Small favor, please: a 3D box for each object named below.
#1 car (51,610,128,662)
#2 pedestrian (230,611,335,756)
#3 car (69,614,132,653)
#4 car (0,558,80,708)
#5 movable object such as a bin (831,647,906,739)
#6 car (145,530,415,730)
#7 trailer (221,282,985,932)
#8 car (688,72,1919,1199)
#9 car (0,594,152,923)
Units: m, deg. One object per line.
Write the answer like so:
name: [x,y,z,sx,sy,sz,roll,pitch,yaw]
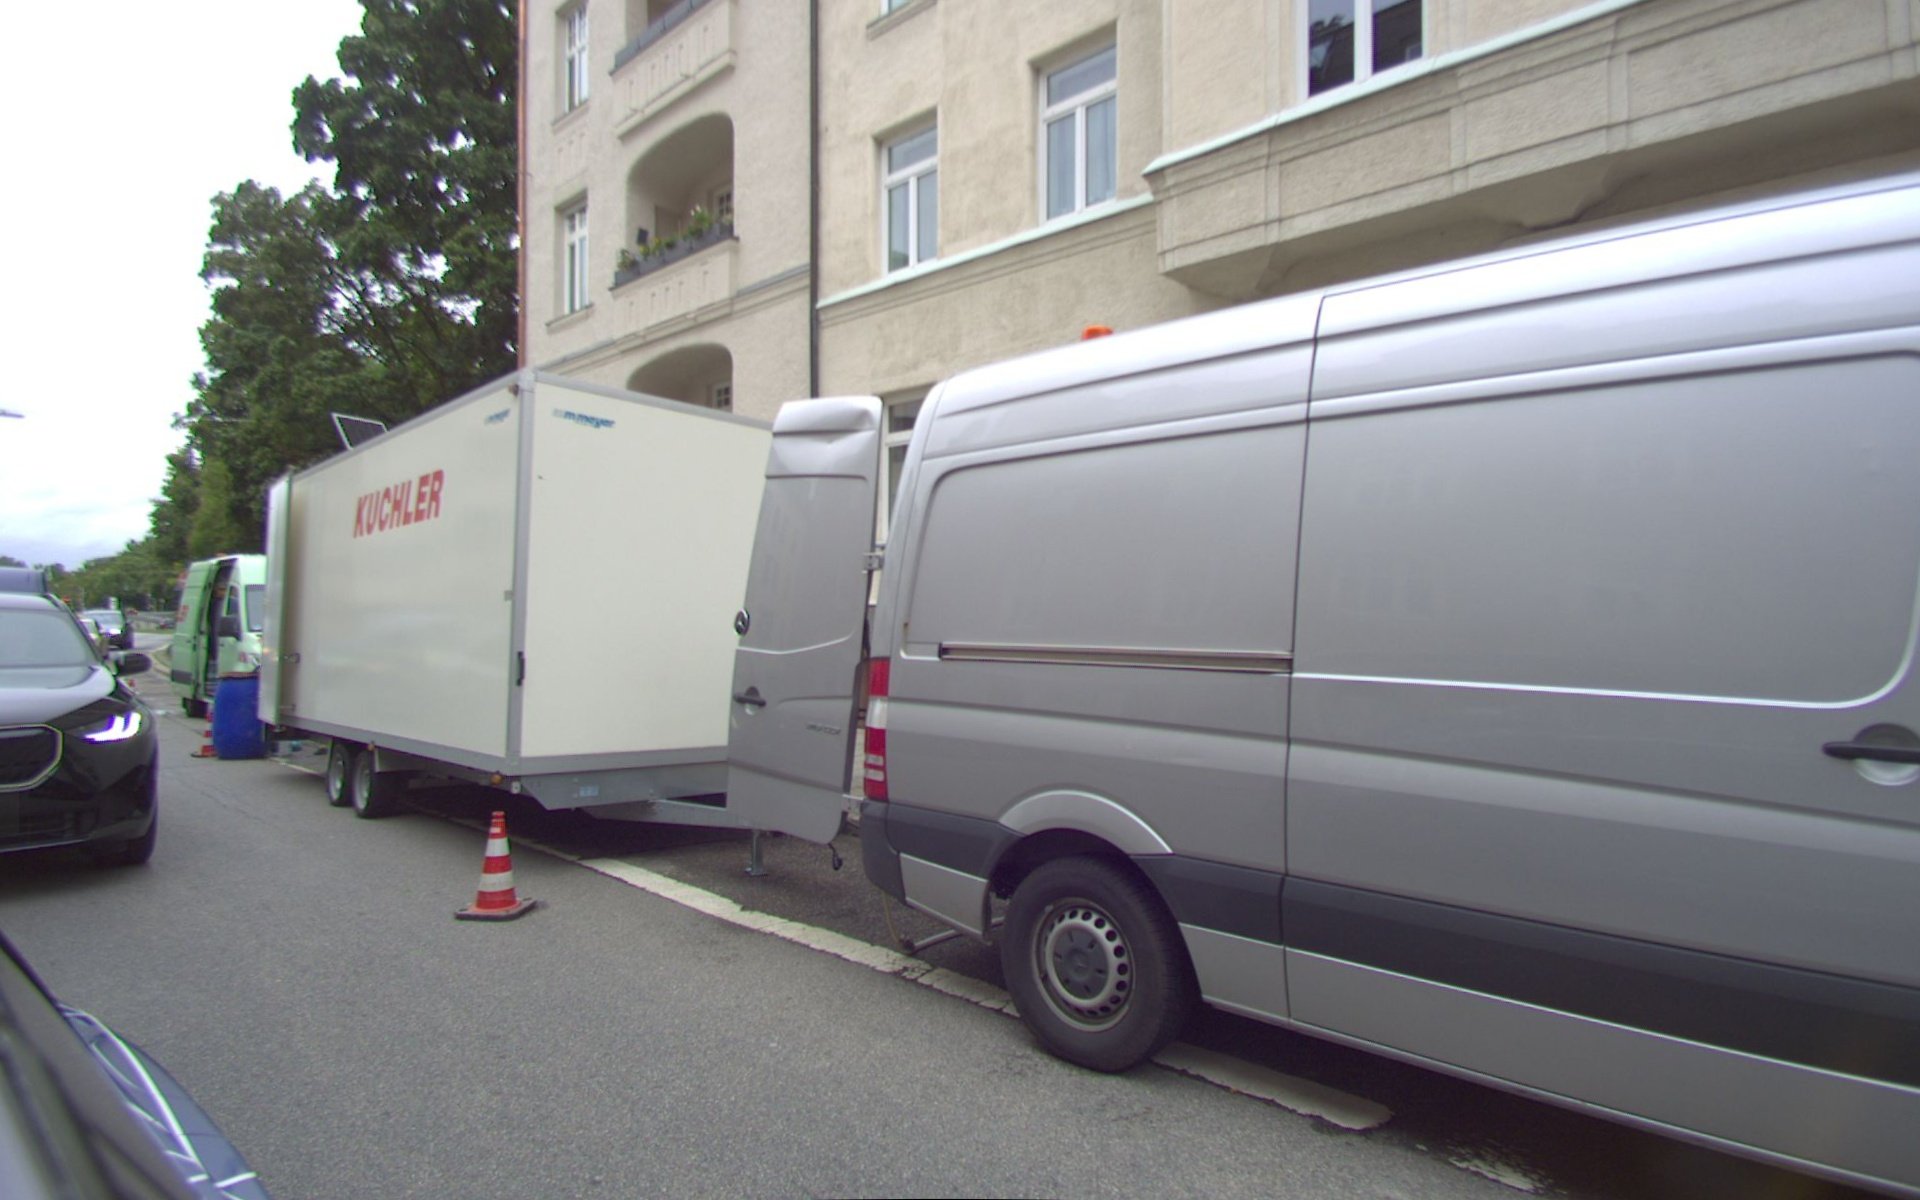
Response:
car: [-30.186,1.230,35.069,1.791,1.601,4.169,7,-5,-41]
pedestrian: [-7.792,0.936,11.663,0.633,1.592,0.757,0,-2,25]
car: [-36.415,1.408,42.840,1.791,1.474,4.169,7,-5,-42]
car: [-18.327,0.548,19.143,1.974,2.510,6.247,1,-1,-36]
movable object such as a bin: [-1.192,1.189,13.159,0.641,1.137,0.731,2,-2,-45]
car: [-11.107,0.470,16.238,6.795,2.592,2.117,-1,-2,43]
trailer: [-3.529,0.212,8.320,7.602,2.992,2.772,-2,-6,45]
car: [2.007,0.320,3.256,6.875,2.607,2.034,-1,-6,42]
car: [-6.284,0.766,6.286,1.892,1.577,4.302,2,-2,-39]
